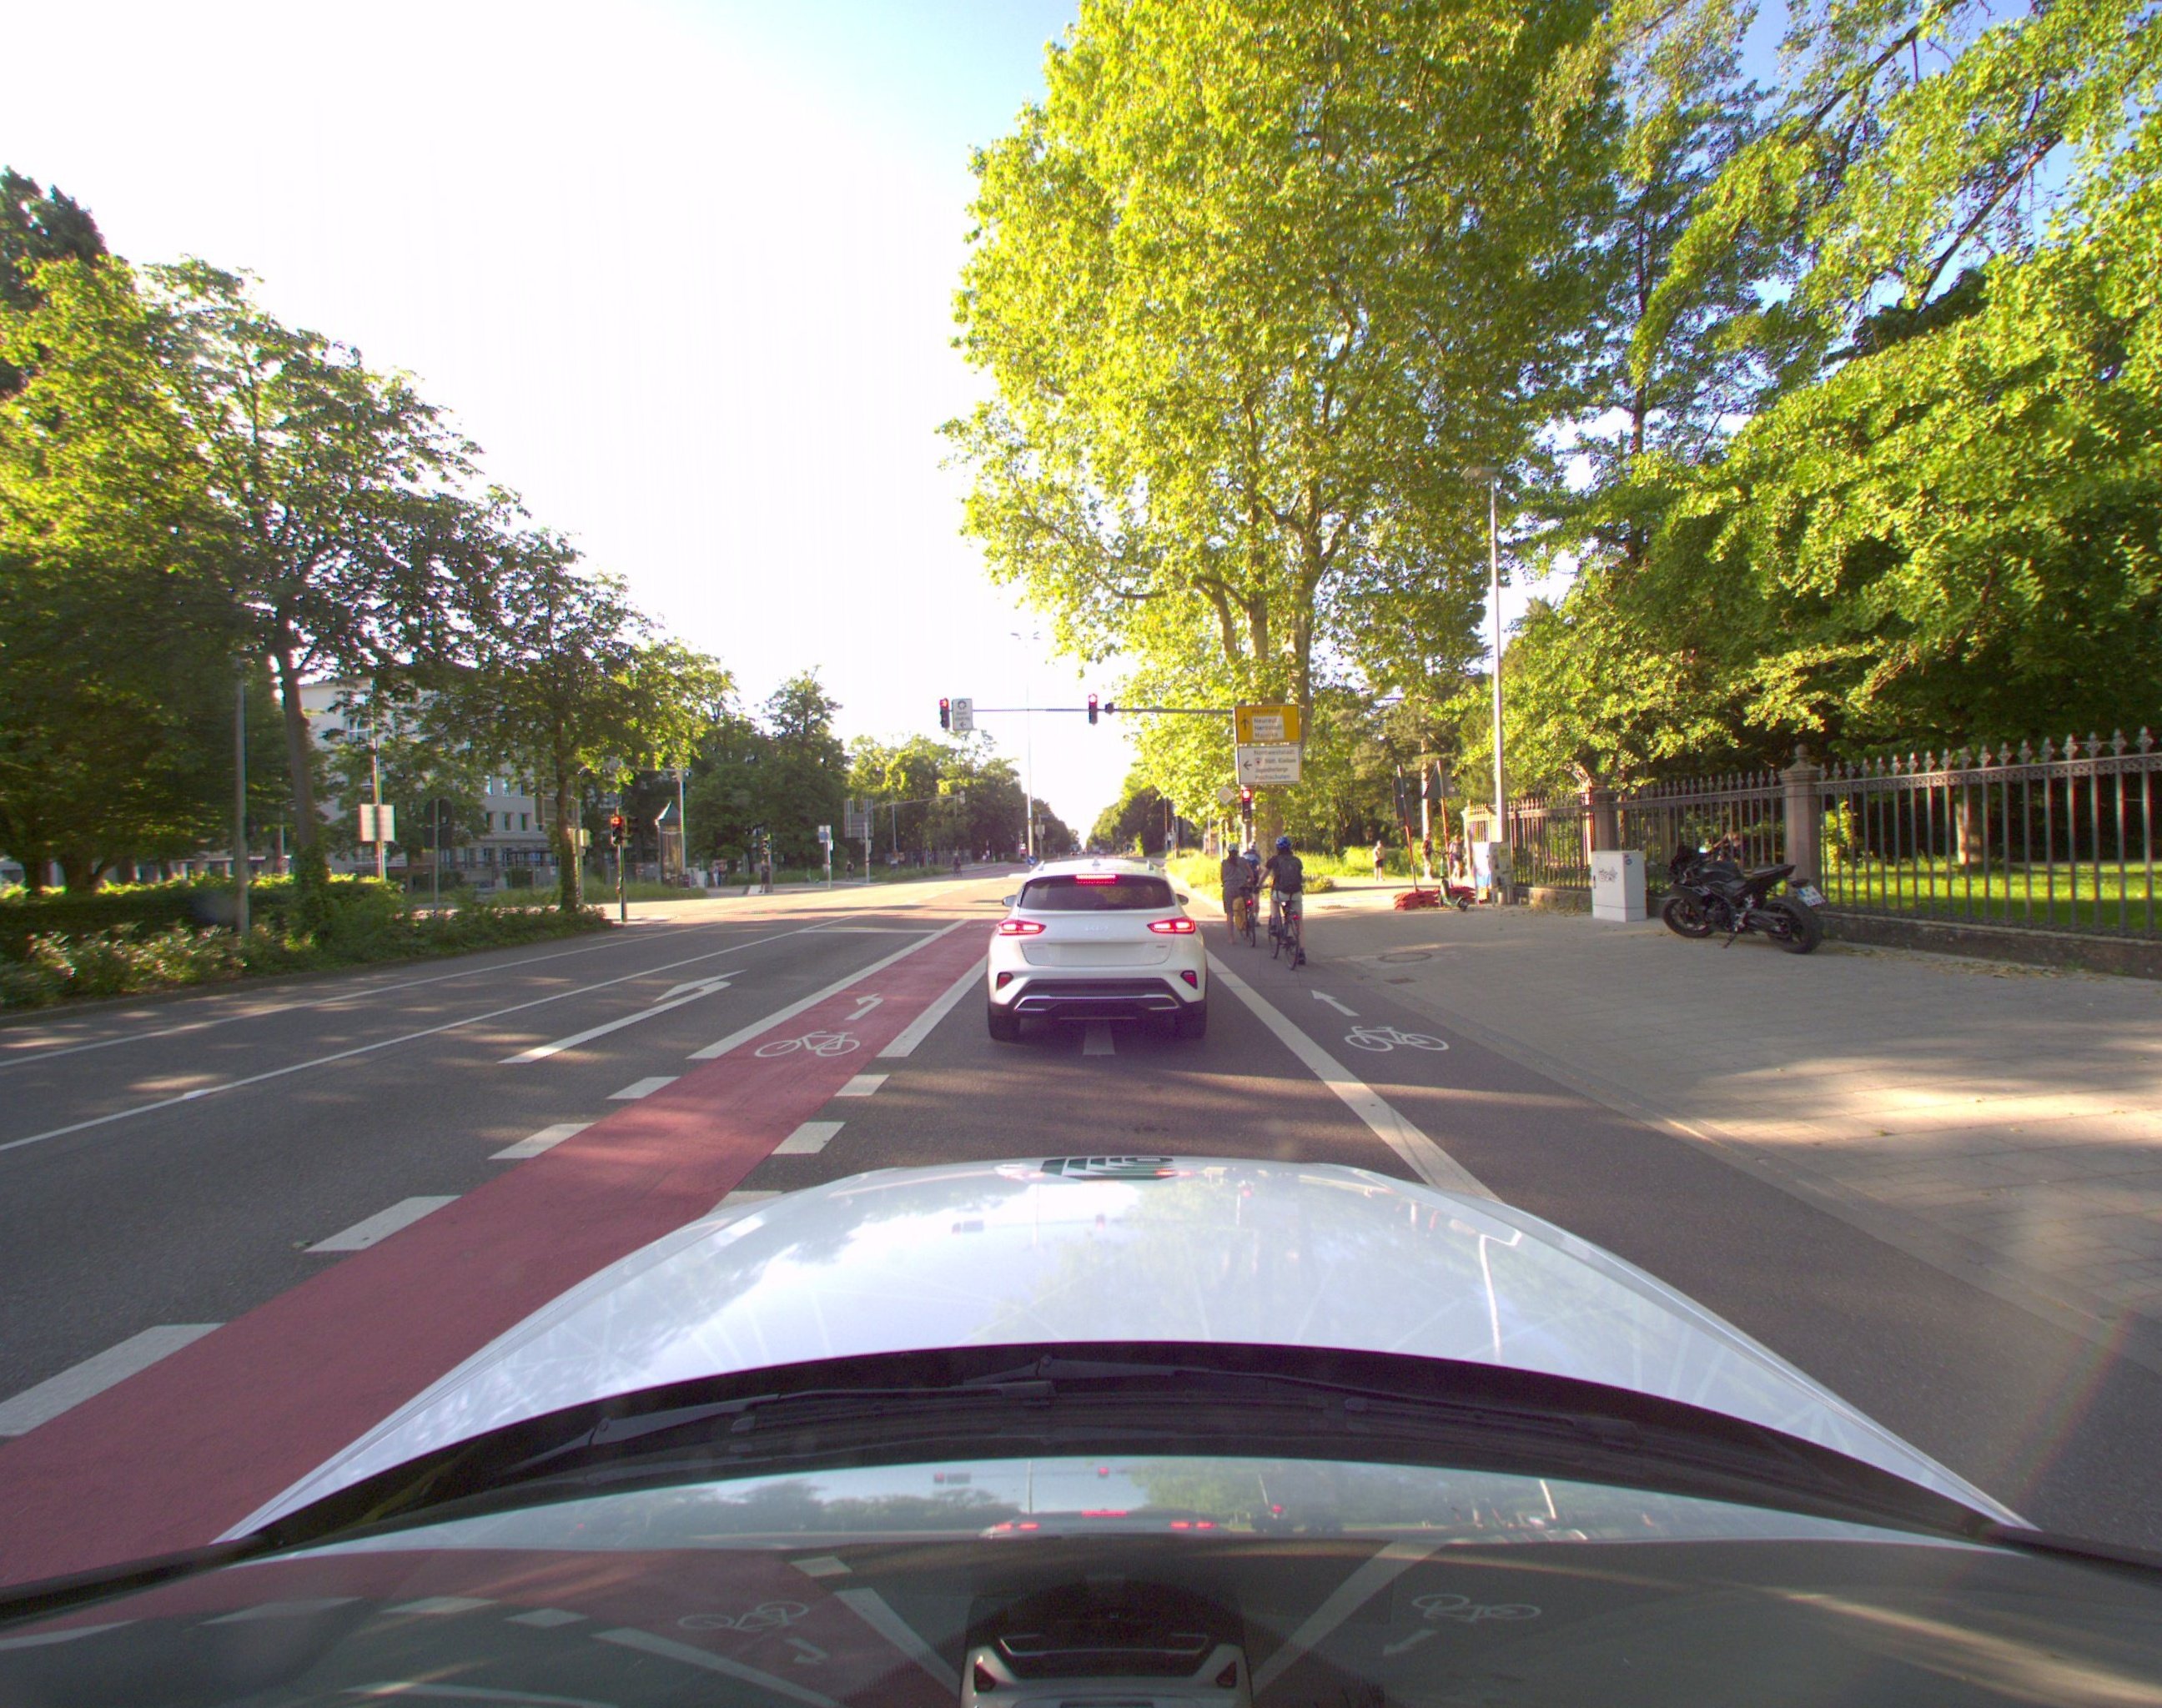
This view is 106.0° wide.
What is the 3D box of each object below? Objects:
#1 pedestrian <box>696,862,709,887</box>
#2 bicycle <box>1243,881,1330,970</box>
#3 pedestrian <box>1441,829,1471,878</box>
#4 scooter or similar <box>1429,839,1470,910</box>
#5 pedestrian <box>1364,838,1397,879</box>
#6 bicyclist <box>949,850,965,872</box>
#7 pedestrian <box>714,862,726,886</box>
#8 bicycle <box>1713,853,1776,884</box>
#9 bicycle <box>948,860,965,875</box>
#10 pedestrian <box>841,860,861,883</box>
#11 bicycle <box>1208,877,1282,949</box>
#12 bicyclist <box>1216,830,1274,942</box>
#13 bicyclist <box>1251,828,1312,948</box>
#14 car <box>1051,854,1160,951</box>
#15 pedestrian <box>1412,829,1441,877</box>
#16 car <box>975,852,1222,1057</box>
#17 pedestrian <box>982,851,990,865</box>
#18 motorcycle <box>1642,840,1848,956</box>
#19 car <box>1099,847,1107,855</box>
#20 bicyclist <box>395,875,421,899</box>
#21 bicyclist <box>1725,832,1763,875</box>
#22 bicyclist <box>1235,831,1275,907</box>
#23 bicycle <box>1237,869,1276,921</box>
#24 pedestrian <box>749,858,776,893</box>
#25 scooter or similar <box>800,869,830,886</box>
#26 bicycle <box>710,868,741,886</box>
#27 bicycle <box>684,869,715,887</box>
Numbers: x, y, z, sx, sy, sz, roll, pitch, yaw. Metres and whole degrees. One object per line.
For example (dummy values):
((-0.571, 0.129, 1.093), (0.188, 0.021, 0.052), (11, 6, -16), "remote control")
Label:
((-25.441, 1.360, 54.730), (0.628, 1.642, 0.444), (-1, -1, -8), "pedestrian")
((2.761, 0.926, 11.163), (0.666, 1.009, 2.081), (-1, 0, 0), "bicycle")
((13.408, -0.023, 29.132), (0.688, 1.699, 0.643), (-3, 0, -5), "pedestrian")
((7.212, 0.380, 15.973), (0.227, 1.327, 1.172), (-3, 0, 0), "scooter or similar")
((11.297, 0.167, 30.724), (0.818, 1.518, 0.913), (-1, -1, -12), "pedestrian")
((-9.330, 0.495, 61.172), (0.871, 1.608, 1.189), (-3, 0, 4), "bicyclist")
((-24.083, 1.302, 54.373), (0.628, 1.580, 0.444), (-1, -1, -8), "pedestrian")
((22.573, 0.487, 27.740), (1.606, 1.015, 0.476), (-1, -1, 12), "bicycle")
((-9.311, 0.988, 61.086), (0.660, 0.989, 2.507), (-3, 0, 4), "bicycle")
((-16.640, 1.276, 58.951), (1.086, 1.603, 0.999), (-3, 0, -5), "pedestrian")
((2.714, 0.945, 13.732), (0.755, 1.013, 2.569), (0, 0, 0), "bicycle")
((2.713, 0.506, 13.588), (0.750, 1.795, 1.165), (0, 0, 0), "bicyclist")
((2.761, 0.453, 11.252), (0.663, 1.602, 0.721), (-1, 0, 0), "bicyclist")
((0.407, 0.780, 14.990), (1.723, 1.483, 3.516), (-3, 0, 0), "car")
((13.127, -0.032, 30.936), (0.812, 1.771, 0.835), (-3, 0, 12), "pedestrian")
((0.149, 0.743, 8.059), (1.815, 1.480, 3.936), (-1, 0, 0), "car")
((-11.920, 0.463, 102.383), (0.782, 1.785, 0.751), (-1, -1, 2), "pedestrian")
((7.367, 0.444, 9.200), (0.504, 1.131, 2.170), (-4, 0, 0), "motorcycle")
((6.206, -0.921, 231.305), (1.986, 2.013, 4.002), (-3, 0, 2), "car")
((-46.693, 2.266, 56.497), (0.971, 1.606, 0.878), (-3, 0, 2), "bicyclist")
((22.565, -0.025, 27.725), (0.776, 1.431, 0.668), (-1, -1, 13), "bicyclist")
((3.544, 0.293, 16.603), (0.552, 1.478, 0.717), (-5, -1, 0), "bicyclist")
((3.569, 0.819, 16.657), (0.400, 0.956, 1.551), (-5, 0, 0), "bicycle")
((-18.703, 1.251, 47.863), (0.990, 2.014, 1.193), (-1, -1, 7), "pedestrian")
((-18.659, 1.611, 57.144), (0.703, 1.124, 1.933), (-1, 0, 34), "scooter or similar")
((-23.915, 1.550, 54.790), (1.859, 1.148, 0.290), (-1, -1, -6), "bicycle")
((-25.795, 1.603, 55.060), (1.859, 1.148, 0.442), (-1, -1, -6), "bicycle")
